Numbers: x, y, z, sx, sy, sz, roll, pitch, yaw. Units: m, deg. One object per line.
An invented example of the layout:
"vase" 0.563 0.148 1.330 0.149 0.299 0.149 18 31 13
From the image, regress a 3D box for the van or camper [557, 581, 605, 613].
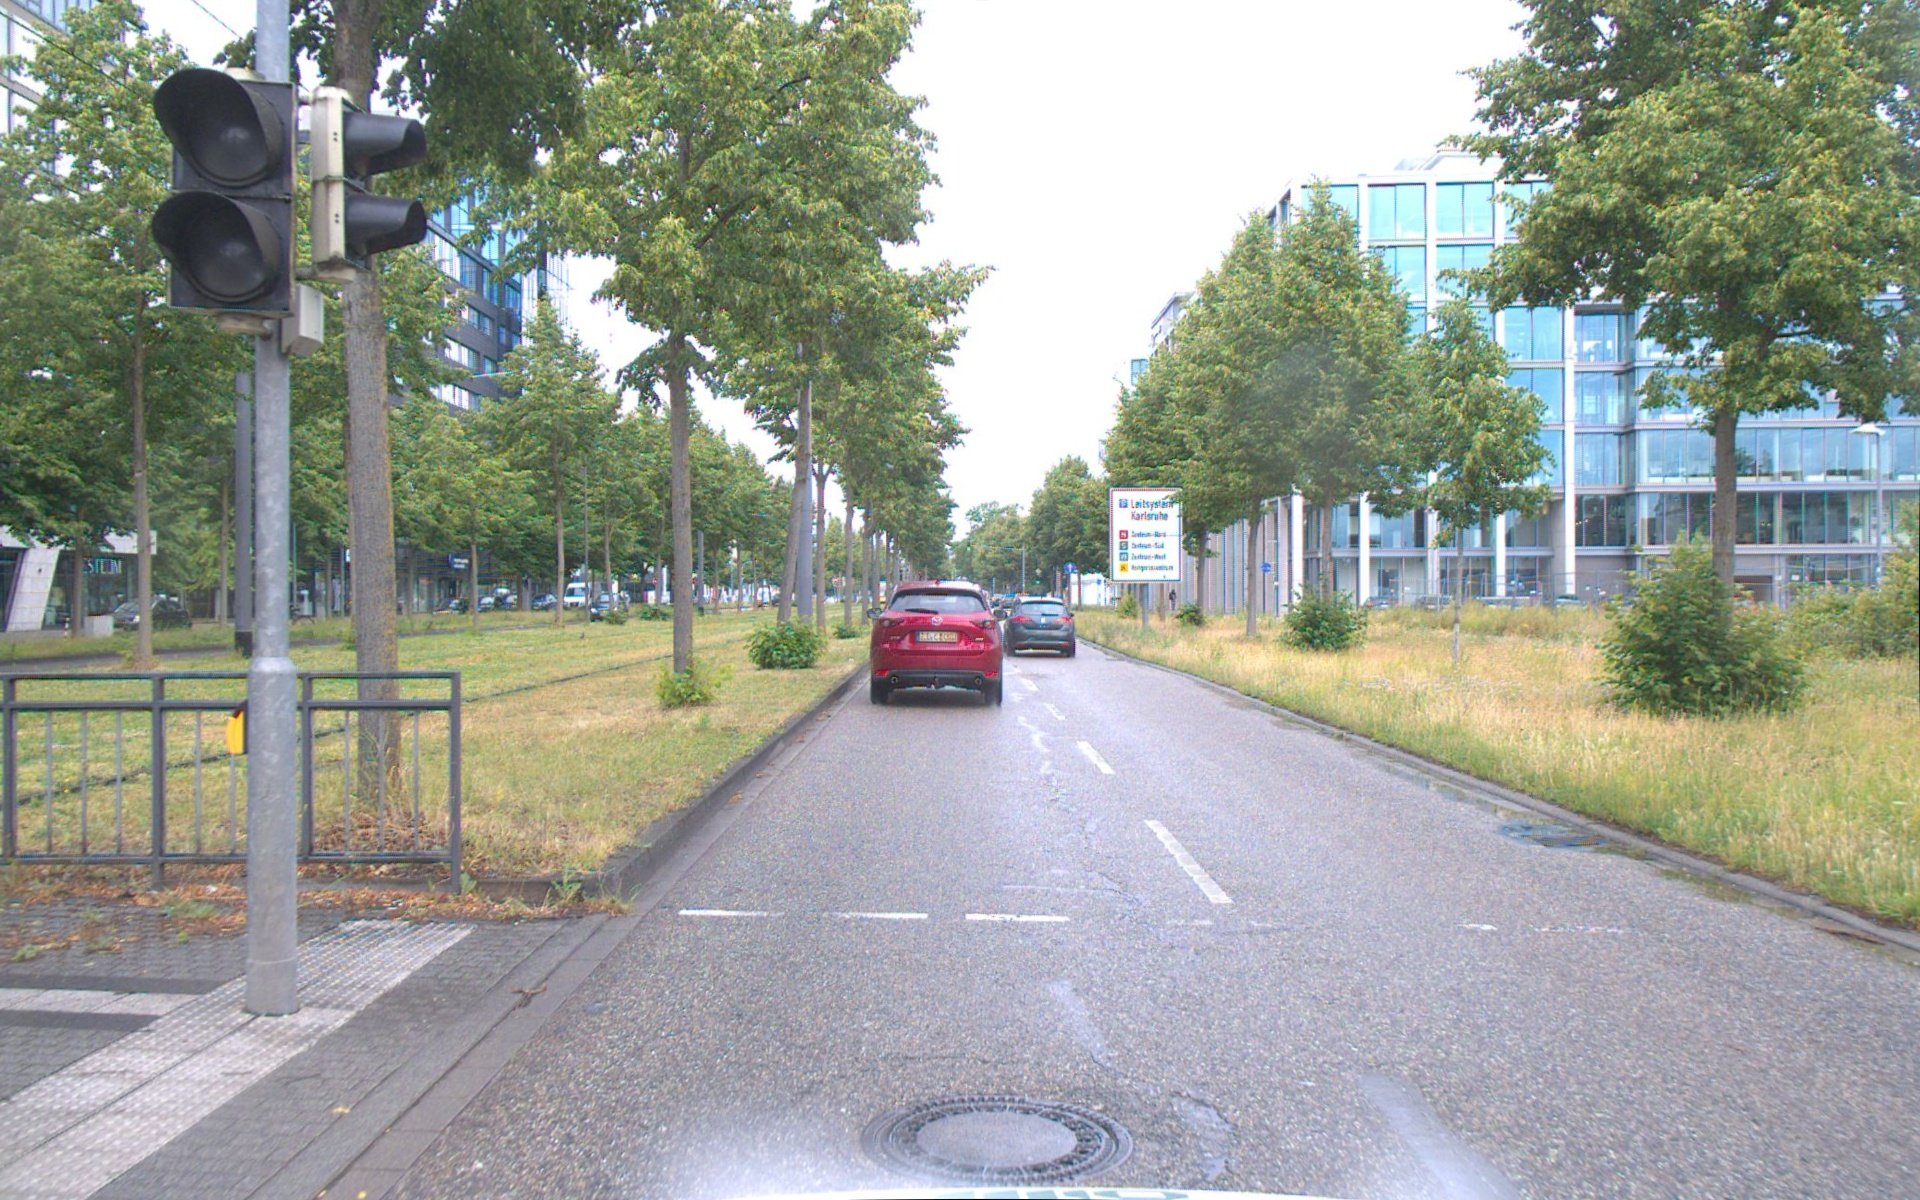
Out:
"van or camper" -28.892 -0.262 126.374 2.383 2.356 5.849 0 0 0

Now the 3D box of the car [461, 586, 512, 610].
"car" -28.527 -0.111 99.767 1.953 1.402 4.000 0 0 -1

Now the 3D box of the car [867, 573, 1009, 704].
"car" -0.323 0.495 23.631 1.860 1.706 3.999 0 0 -1

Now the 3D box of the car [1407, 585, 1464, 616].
"car" 23.394 0.013 81.503 1.816 1.480 4.560 0 0 5

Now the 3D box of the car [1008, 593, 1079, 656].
"car" 2.131 0.586 42.087 1.707 1.490 3.783 0 0 3

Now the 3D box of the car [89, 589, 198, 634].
"car" -28.108 0.375 57.053 1.817 1.490 3.988 0 0 -1

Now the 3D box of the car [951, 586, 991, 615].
"car" 0.547 -0.004 85.370 1.928 1.462 4.551 0 0 -2

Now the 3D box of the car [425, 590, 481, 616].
"car" -28.596 0.152 93.396 1.953 1.402 4.000 0 0 -1

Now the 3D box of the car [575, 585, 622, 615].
"car" -20.983 -0.027 96.109 1.953 1.685 3.699 0 0 0

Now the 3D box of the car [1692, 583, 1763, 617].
"car" 36.983 -0.017 79.788 1.816 1.629 4.002 0 0 5

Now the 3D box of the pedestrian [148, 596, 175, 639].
"pedestrian" -37.848 0.811 78.396 0.777 2.016 0.857 0 0 7

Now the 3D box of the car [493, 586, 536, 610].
"car" -28.607 -0.152 106.350 1.667 1.475 4.241 0 0 -1

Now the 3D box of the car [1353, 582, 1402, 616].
"car" 20.677 -0.062 82.022 1.815 1.608 4.003 0 0 7
